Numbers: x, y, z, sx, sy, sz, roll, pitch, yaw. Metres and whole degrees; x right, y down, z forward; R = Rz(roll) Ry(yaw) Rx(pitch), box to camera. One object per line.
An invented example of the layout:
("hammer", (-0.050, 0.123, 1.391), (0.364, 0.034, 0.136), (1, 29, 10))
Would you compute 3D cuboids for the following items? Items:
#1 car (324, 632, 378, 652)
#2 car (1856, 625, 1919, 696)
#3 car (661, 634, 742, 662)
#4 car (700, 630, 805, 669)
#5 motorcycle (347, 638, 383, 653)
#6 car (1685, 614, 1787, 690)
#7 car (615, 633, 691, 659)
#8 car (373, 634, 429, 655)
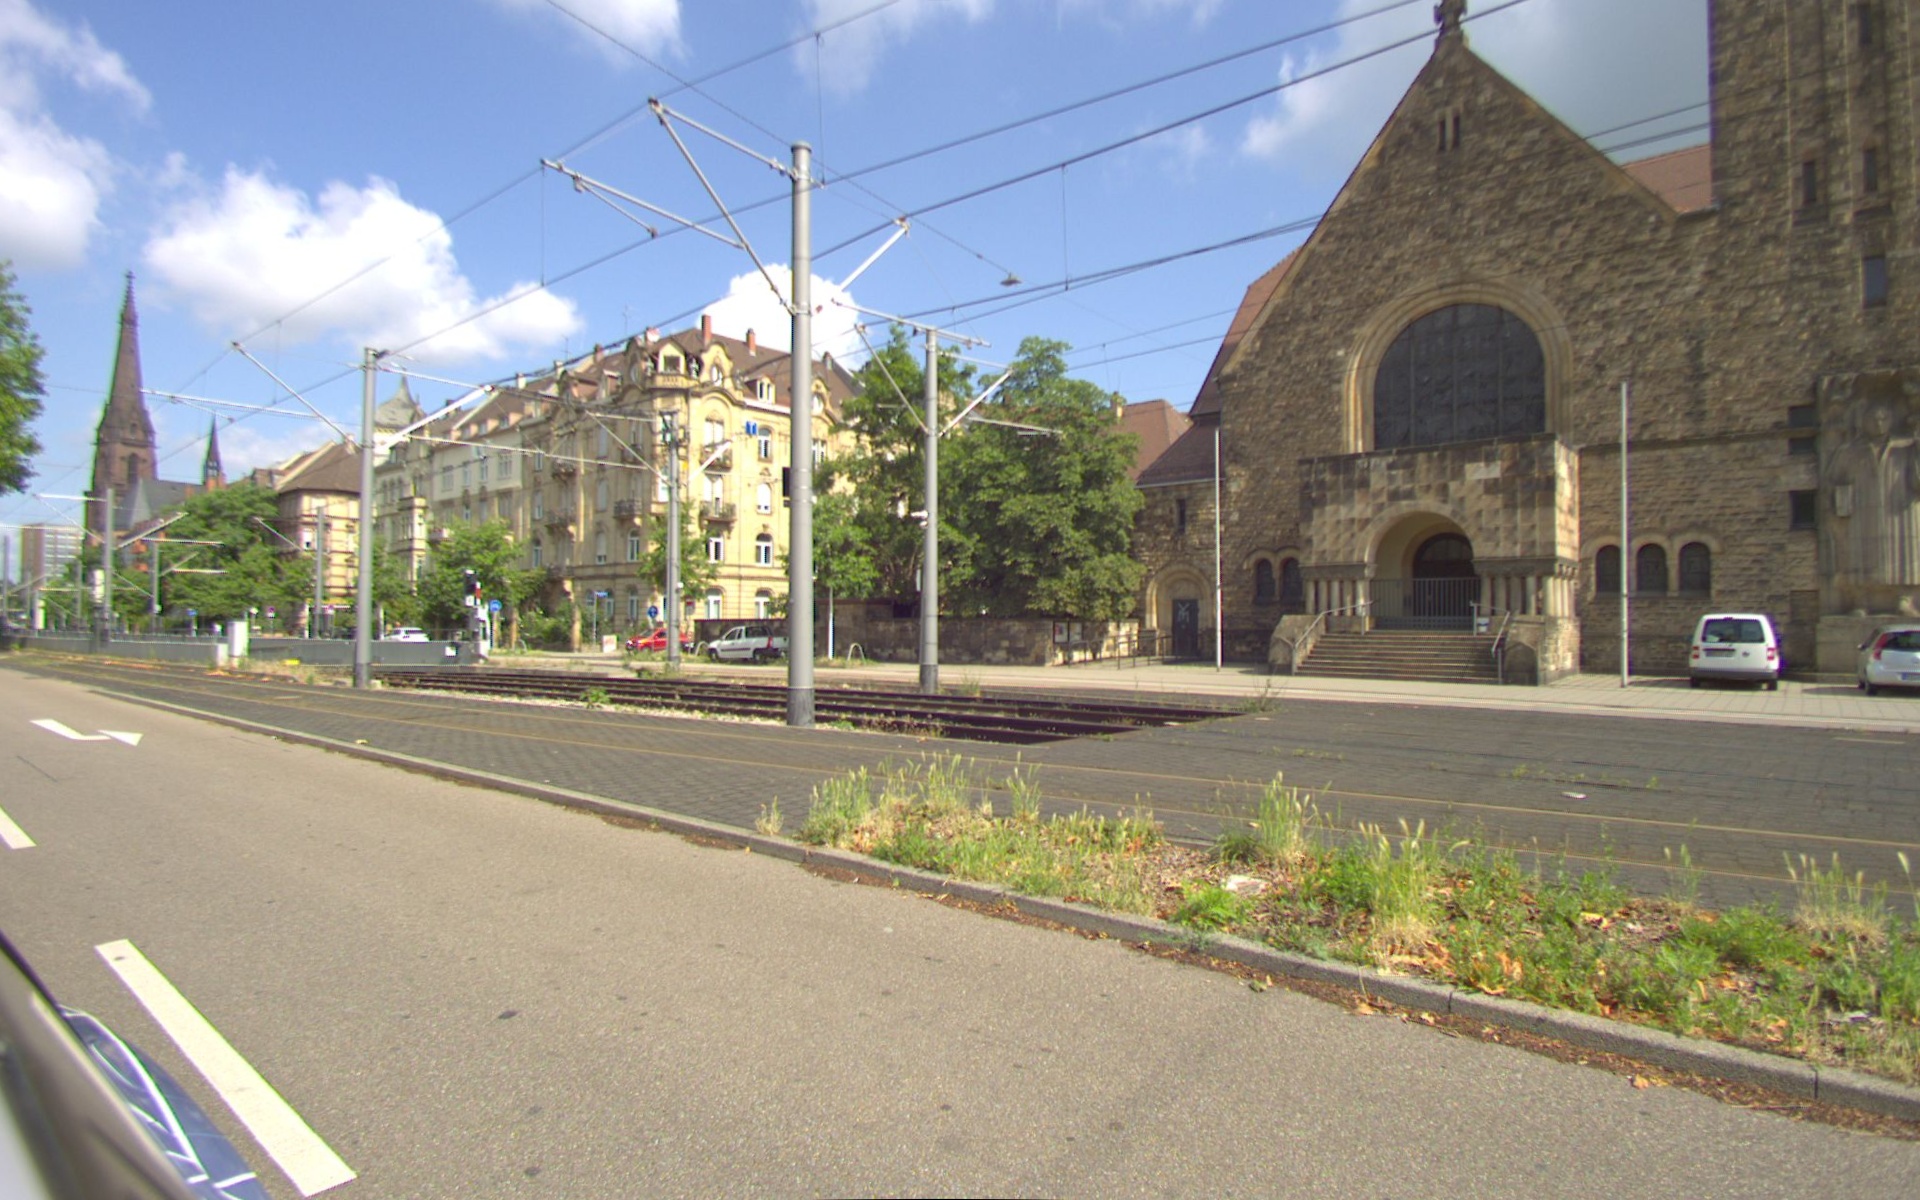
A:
("car", (-43.020, 2.966, 71.426), (4.096, 1.337, 2.000), (-2, -3, 39))
("car", (21.541, 1.340, 22.811), (1.853, 1.514, 3.232), (-2, -3, 39))
("car", (-13.800, 2.554, 54.156), (1.723, 1.475, 3.921), (-2, -3, 41))
("car", (-8.558, 1.983, 41.588), (4.410, 1.516, 1.911), (-2, -3, 39))
("motorcycle", (-40.854, 3.116, 69.535), (1.416, 0.949, 1.742), (-2, -4, 40))
("car", (19.578, 1.272, 25.560), (1.892, 1.762, 3.832), (-2, -3, 38))
("car", (-17.701, 2.631, 58.403), (1.933, 1.475, 3.738), (-2, -3, 44))
("car", (-36.294, 2.890, 65.679), (4.308, 1.338, 1.734), (-2, -3, 39))
